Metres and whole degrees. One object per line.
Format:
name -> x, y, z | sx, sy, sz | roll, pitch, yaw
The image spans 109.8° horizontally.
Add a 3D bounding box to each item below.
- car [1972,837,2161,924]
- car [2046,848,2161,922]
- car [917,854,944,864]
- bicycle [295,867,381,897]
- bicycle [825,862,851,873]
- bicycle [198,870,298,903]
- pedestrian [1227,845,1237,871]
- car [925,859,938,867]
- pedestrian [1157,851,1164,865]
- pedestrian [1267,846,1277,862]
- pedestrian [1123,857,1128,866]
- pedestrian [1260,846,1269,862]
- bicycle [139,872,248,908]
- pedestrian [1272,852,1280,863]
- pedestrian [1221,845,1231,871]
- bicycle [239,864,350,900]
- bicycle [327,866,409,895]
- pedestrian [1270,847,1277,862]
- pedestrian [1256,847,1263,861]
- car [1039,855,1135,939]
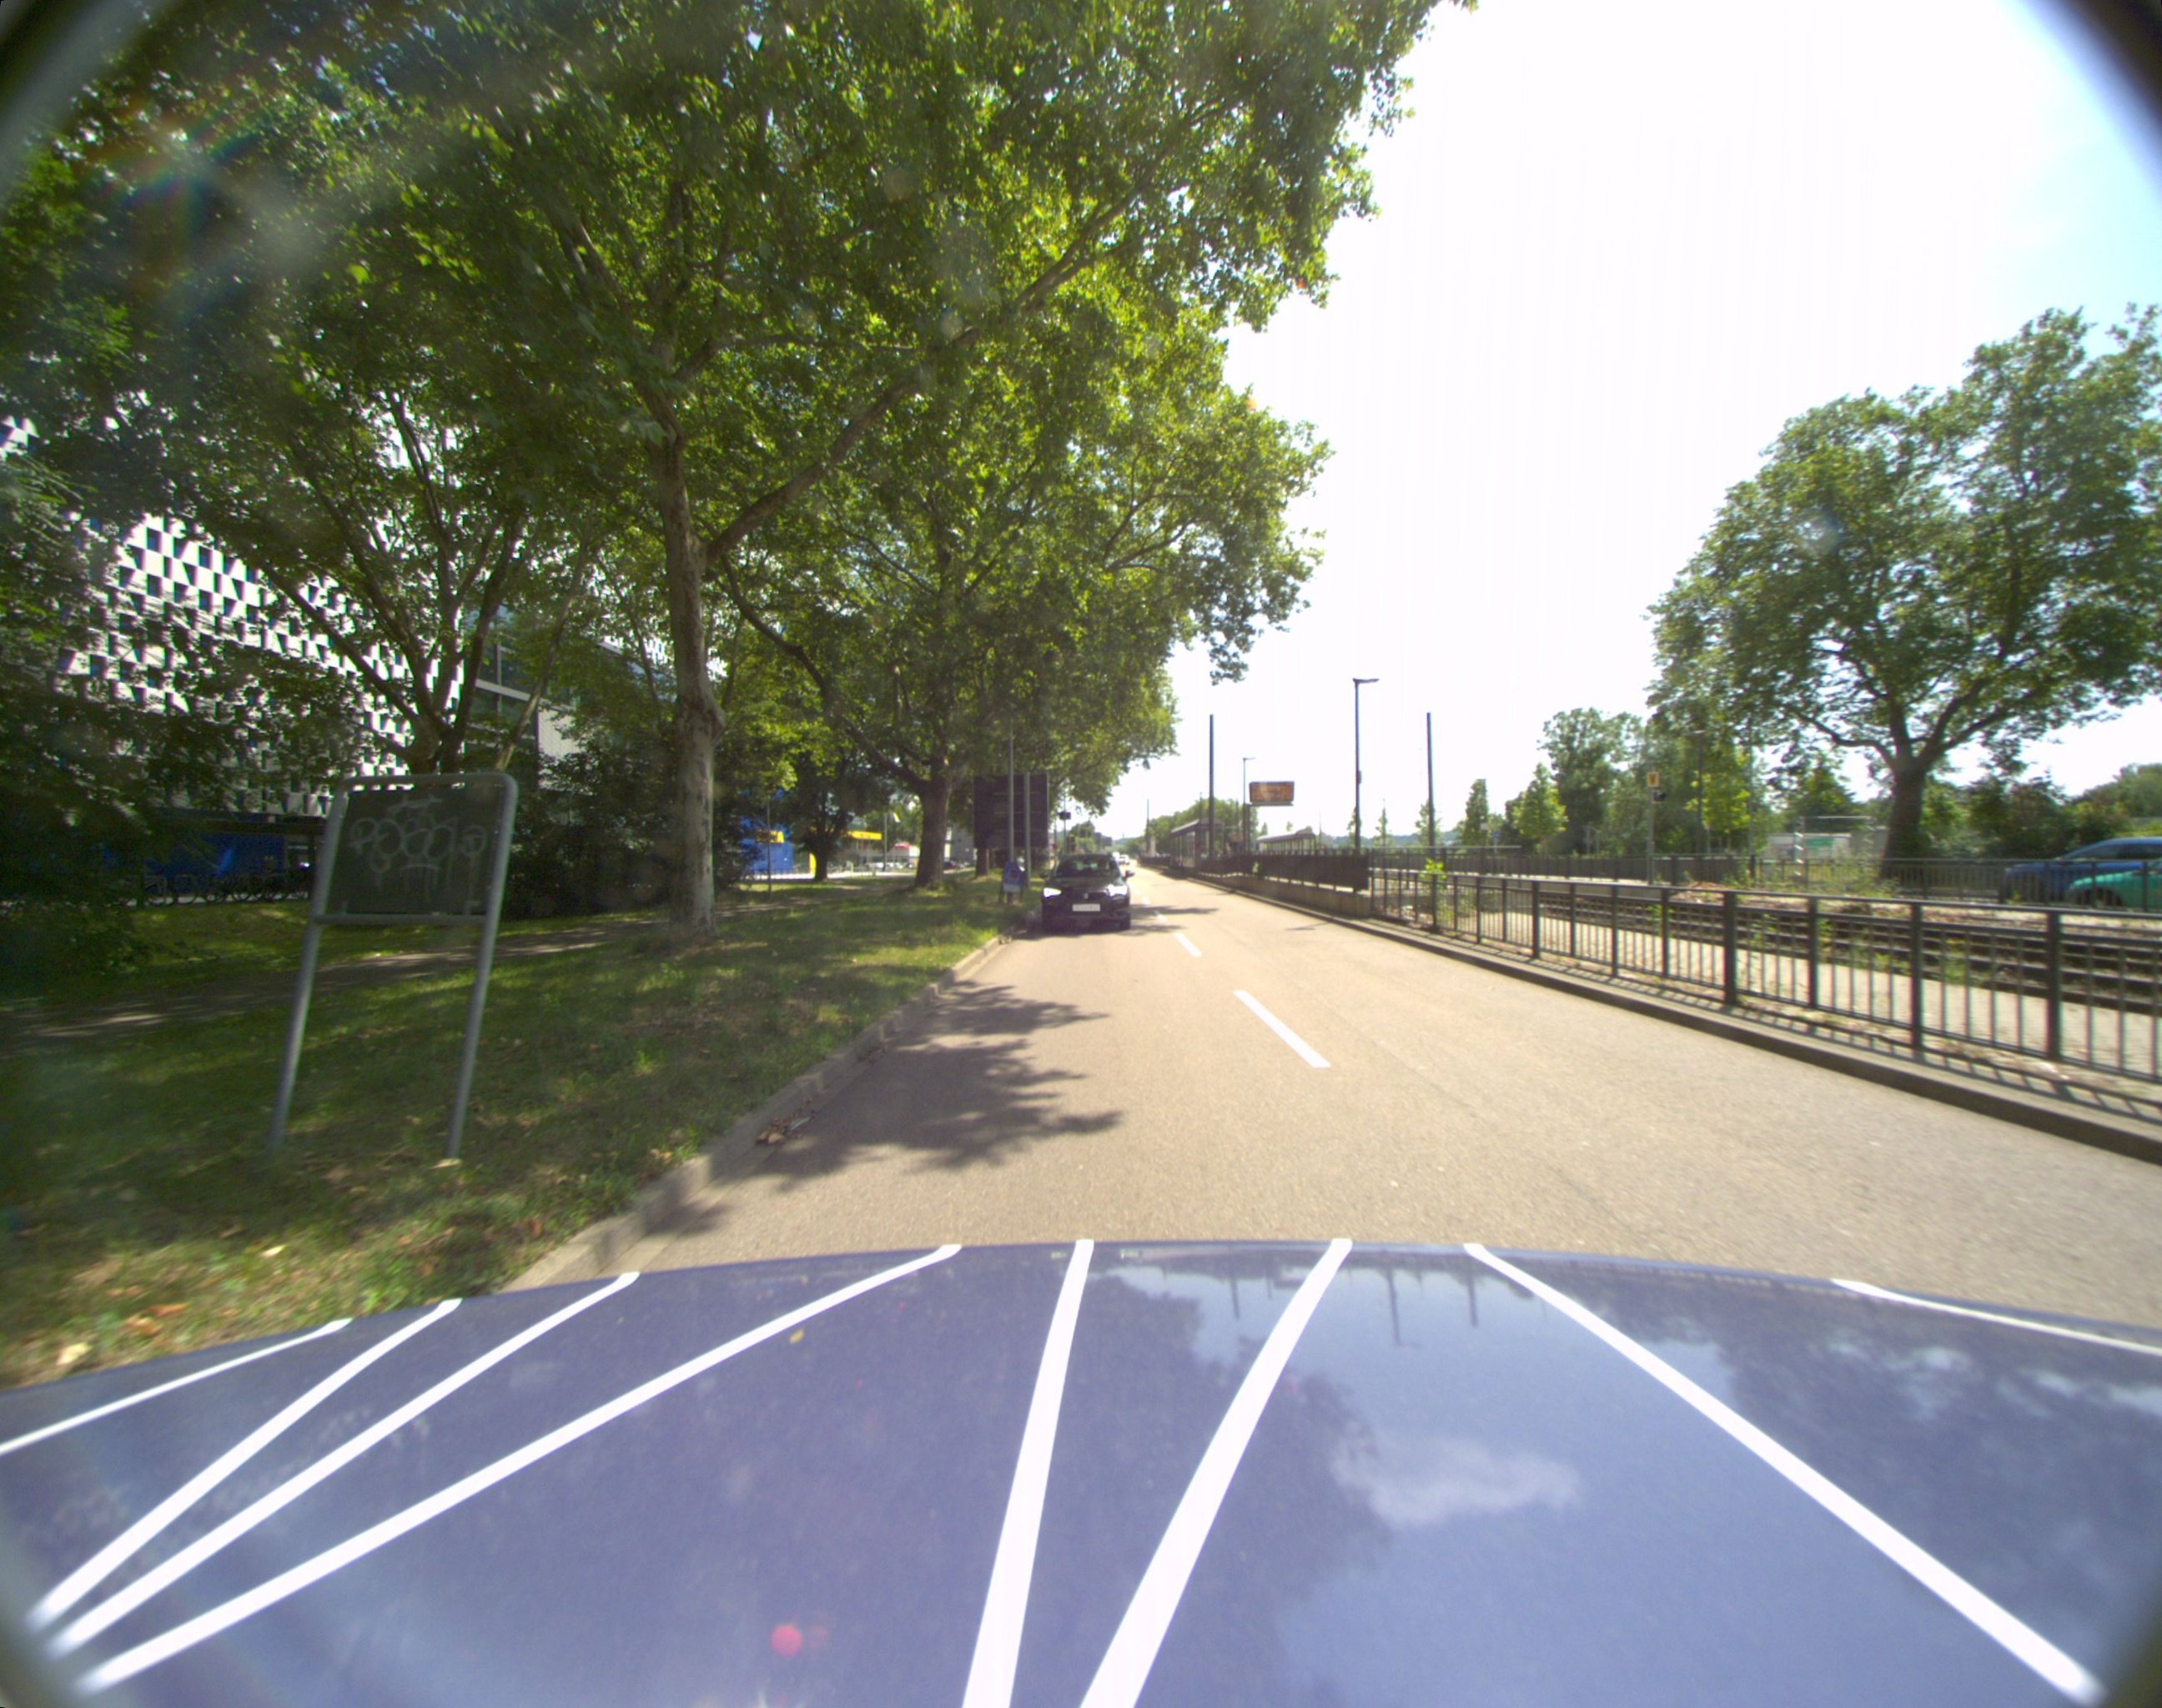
car -> 22.883, 0.513, 16.627 | 1.748, 1.674, 4.385 | -4, 0, 4
car -> 19.556, 0.532, 12.885 | 1.649, 1.258, 3.838 | -1, 0, 4
car -> -25.567, 0.807, 129.130 | 4.078, 1.630, 2.000 | -1, 1, 1
bicycle -> -25.614, 0.962, 26.220 | 2.065, 0.963, 0.868 | -1, 0, -2
bicycle -> -22.117, 1.228, 69.192 | 2.065, 0.963, 0.868 | -1, 0, -2
bicycle -> -25.799, 0.996, 23.552 | 2.065, 0.963, 0.868 | -1, 0, -2
pedestrian -> 8.859, 0.222, 44.644 | 0.396, 1.499, 0.417 | -2, 2, -39
car -> -37.601, 2.191, 191.077 | 1.998, 1.883, 4.521 | -2, 0, 4
pedestrian -> 9.324, 0.467, 88.993 | 0.734, 1.656, 0.742 | -1, 1, 1
pedestrian -> 19.738, 0.024, 78.676 | 0.826, 1.629, 0.579 | -1, 0, 39
pedestrian -> 6.584, 1.081, 112.447 | 0.615, 1.337, 0.720 | -2, 1, 0
pedestrian -> 19.278, -0.021, 79.985 | 0.736, 1.719, 0.579 | -1, 0, 39
bicycle -> -25.656, 1.037, 21.998 | 2.065, 0.963, 0.868 | -1, 0, -2
pedestrian -> 19.500, 0.327, 76.034 | 0.578, 1.088, 0.639 | -1, 0, 3
pedestrian -> 8.541, 0.233, 44.907 | 0.396, 1.499, 0.417 | -2, 2, -39
bicycle -> -25.696, 0.908, 24.847 | 2.634, 1.110, 0.868 | -1, 0, -2
bicycle -> -25.638, 0.954, 27.339 | 2.065, 0.963, 0.868 | -1, 0, -2
pedestrian -> 19.769, 0.086, 77.903 | 0.578, 1.524, 0.639 | -1, 0, 3
pedestrian -> 20.021, -0.002, 85.294 | 0.558, 1.628, 0.806 | -1, 0, -5
car -> 0.262, 0.835, 16.684 | 1.819, 1.583, 4.001 | -1, 0, 4
